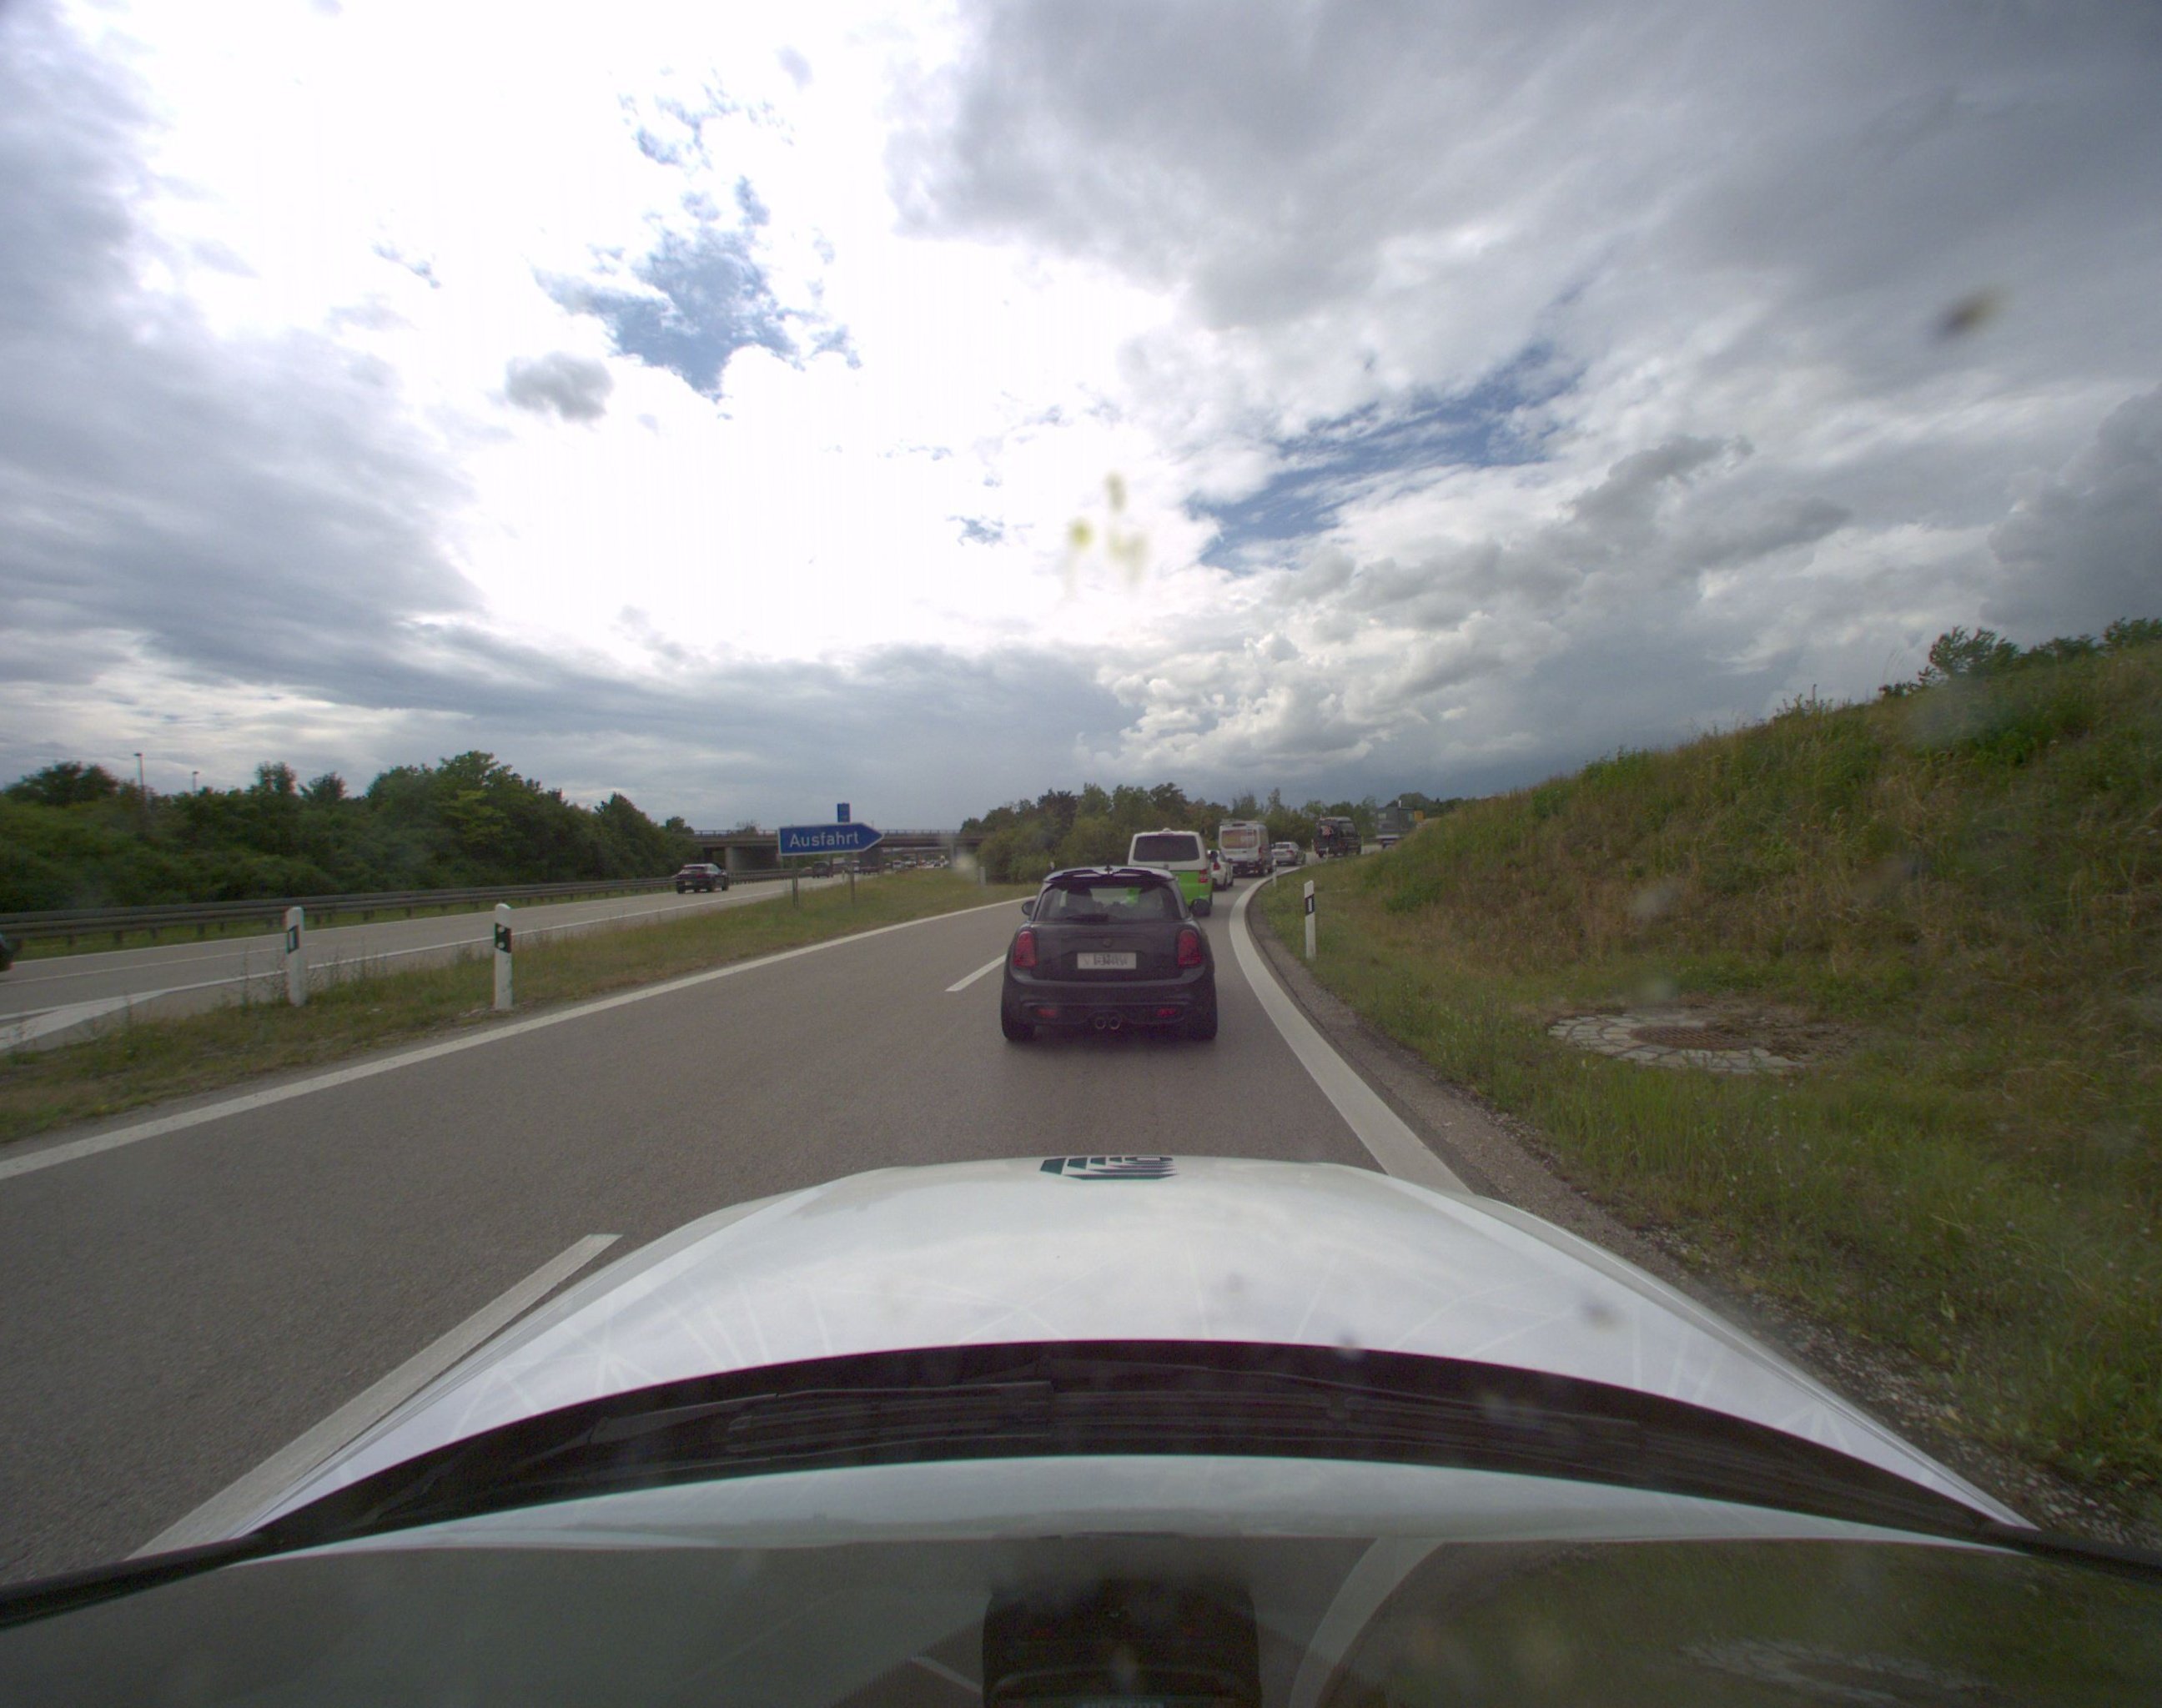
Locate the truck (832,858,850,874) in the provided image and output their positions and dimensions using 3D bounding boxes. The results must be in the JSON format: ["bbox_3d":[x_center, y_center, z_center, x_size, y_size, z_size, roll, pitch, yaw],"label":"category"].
[{"bbox_3d":[-55.263,2.731,187.616,2.757,3.646,8.173,-2,0,-8],"label":"truck"}]

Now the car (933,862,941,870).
[{"bbox_3d":[-38.958,3.235,220.307,1.994,2.014,3.986,0,-1,-10],"label":"car"}]

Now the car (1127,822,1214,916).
[{"bbox_3d":[2.244,0.325,19.570,1.773,2.013,4.011,-1,0,10],"label":"car"}]

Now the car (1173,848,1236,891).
[{"bbox_3d":[4.485,0.529,29.169,1.749,1.399,3.741,-2,0,16],"label":"car"}]

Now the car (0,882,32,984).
[{"bbox_3d":[-16.885,1.208,10.072,1.993,1.509,4.765,-2,0,-8],"label":"car"}]

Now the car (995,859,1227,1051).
[{"bbox_3d":[0.308,0.776,7.995,1.720,1.413,3.727,-1,0,3],"label":"car"}]

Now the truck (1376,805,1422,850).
[{"bbox_3d":[29.077,-2.340,74.352,2.207,3.907,6.054,-1,-1,38],"label":"truck"}]

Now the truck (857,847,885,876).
[{"bbox_3d":[-26.846,0.974,104.452,2.466,3.371,7.899,-3,-1,-9],"label":"truck"}]

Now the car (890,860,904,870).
[{"bbox_3d":[-33.297,1.985,147.536,1.875,1.751,4.475,-2,0,-7],"label":"car"}]

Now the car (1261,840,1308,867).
[{"bbox_3d":[12.436,-0.033,49.575,1.848,1.510,4.024,-2,0,28],"label":"car"}]

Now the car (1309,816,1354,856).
[{"bbox_3d":[18.289,-1.260,59.375,2.084,2.796,4.025,-1,0,32],"label":"car"}]

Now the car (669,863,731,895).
[{"bbox_3d":[-22.817,1.461,49.019,1.993,1.743,4.815,-3,0,-8],"label":"car"}]

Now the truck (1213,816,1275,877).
[{"bbox_3d":[7.855,-0.366,38.916,2.160,2.658,5.133,-2,1,19],"label":"truck"}]

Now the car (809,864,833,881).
[{"bbox_3d":[-29.154,2.010,91.389,1.845,1.758,4.323,-2,0,-9],"label":"car"}]

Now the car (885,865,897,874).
[{"bbox_3d":[-41.647,3.399,178.240,1.992,1.785,5.397,-2,0,-8],"label":"car"}]

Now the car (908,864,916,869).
[{"bbox_3d":[-46.413,3.434,223.547,1.721,1.424,4.783,-2,0,-8],"label":"car"}]

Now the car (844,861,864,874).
[{"bbox_3d":[-31.642,1.874,113.576,1.992,1.810,3.989,-2,0,-8],"label":"car"}]
